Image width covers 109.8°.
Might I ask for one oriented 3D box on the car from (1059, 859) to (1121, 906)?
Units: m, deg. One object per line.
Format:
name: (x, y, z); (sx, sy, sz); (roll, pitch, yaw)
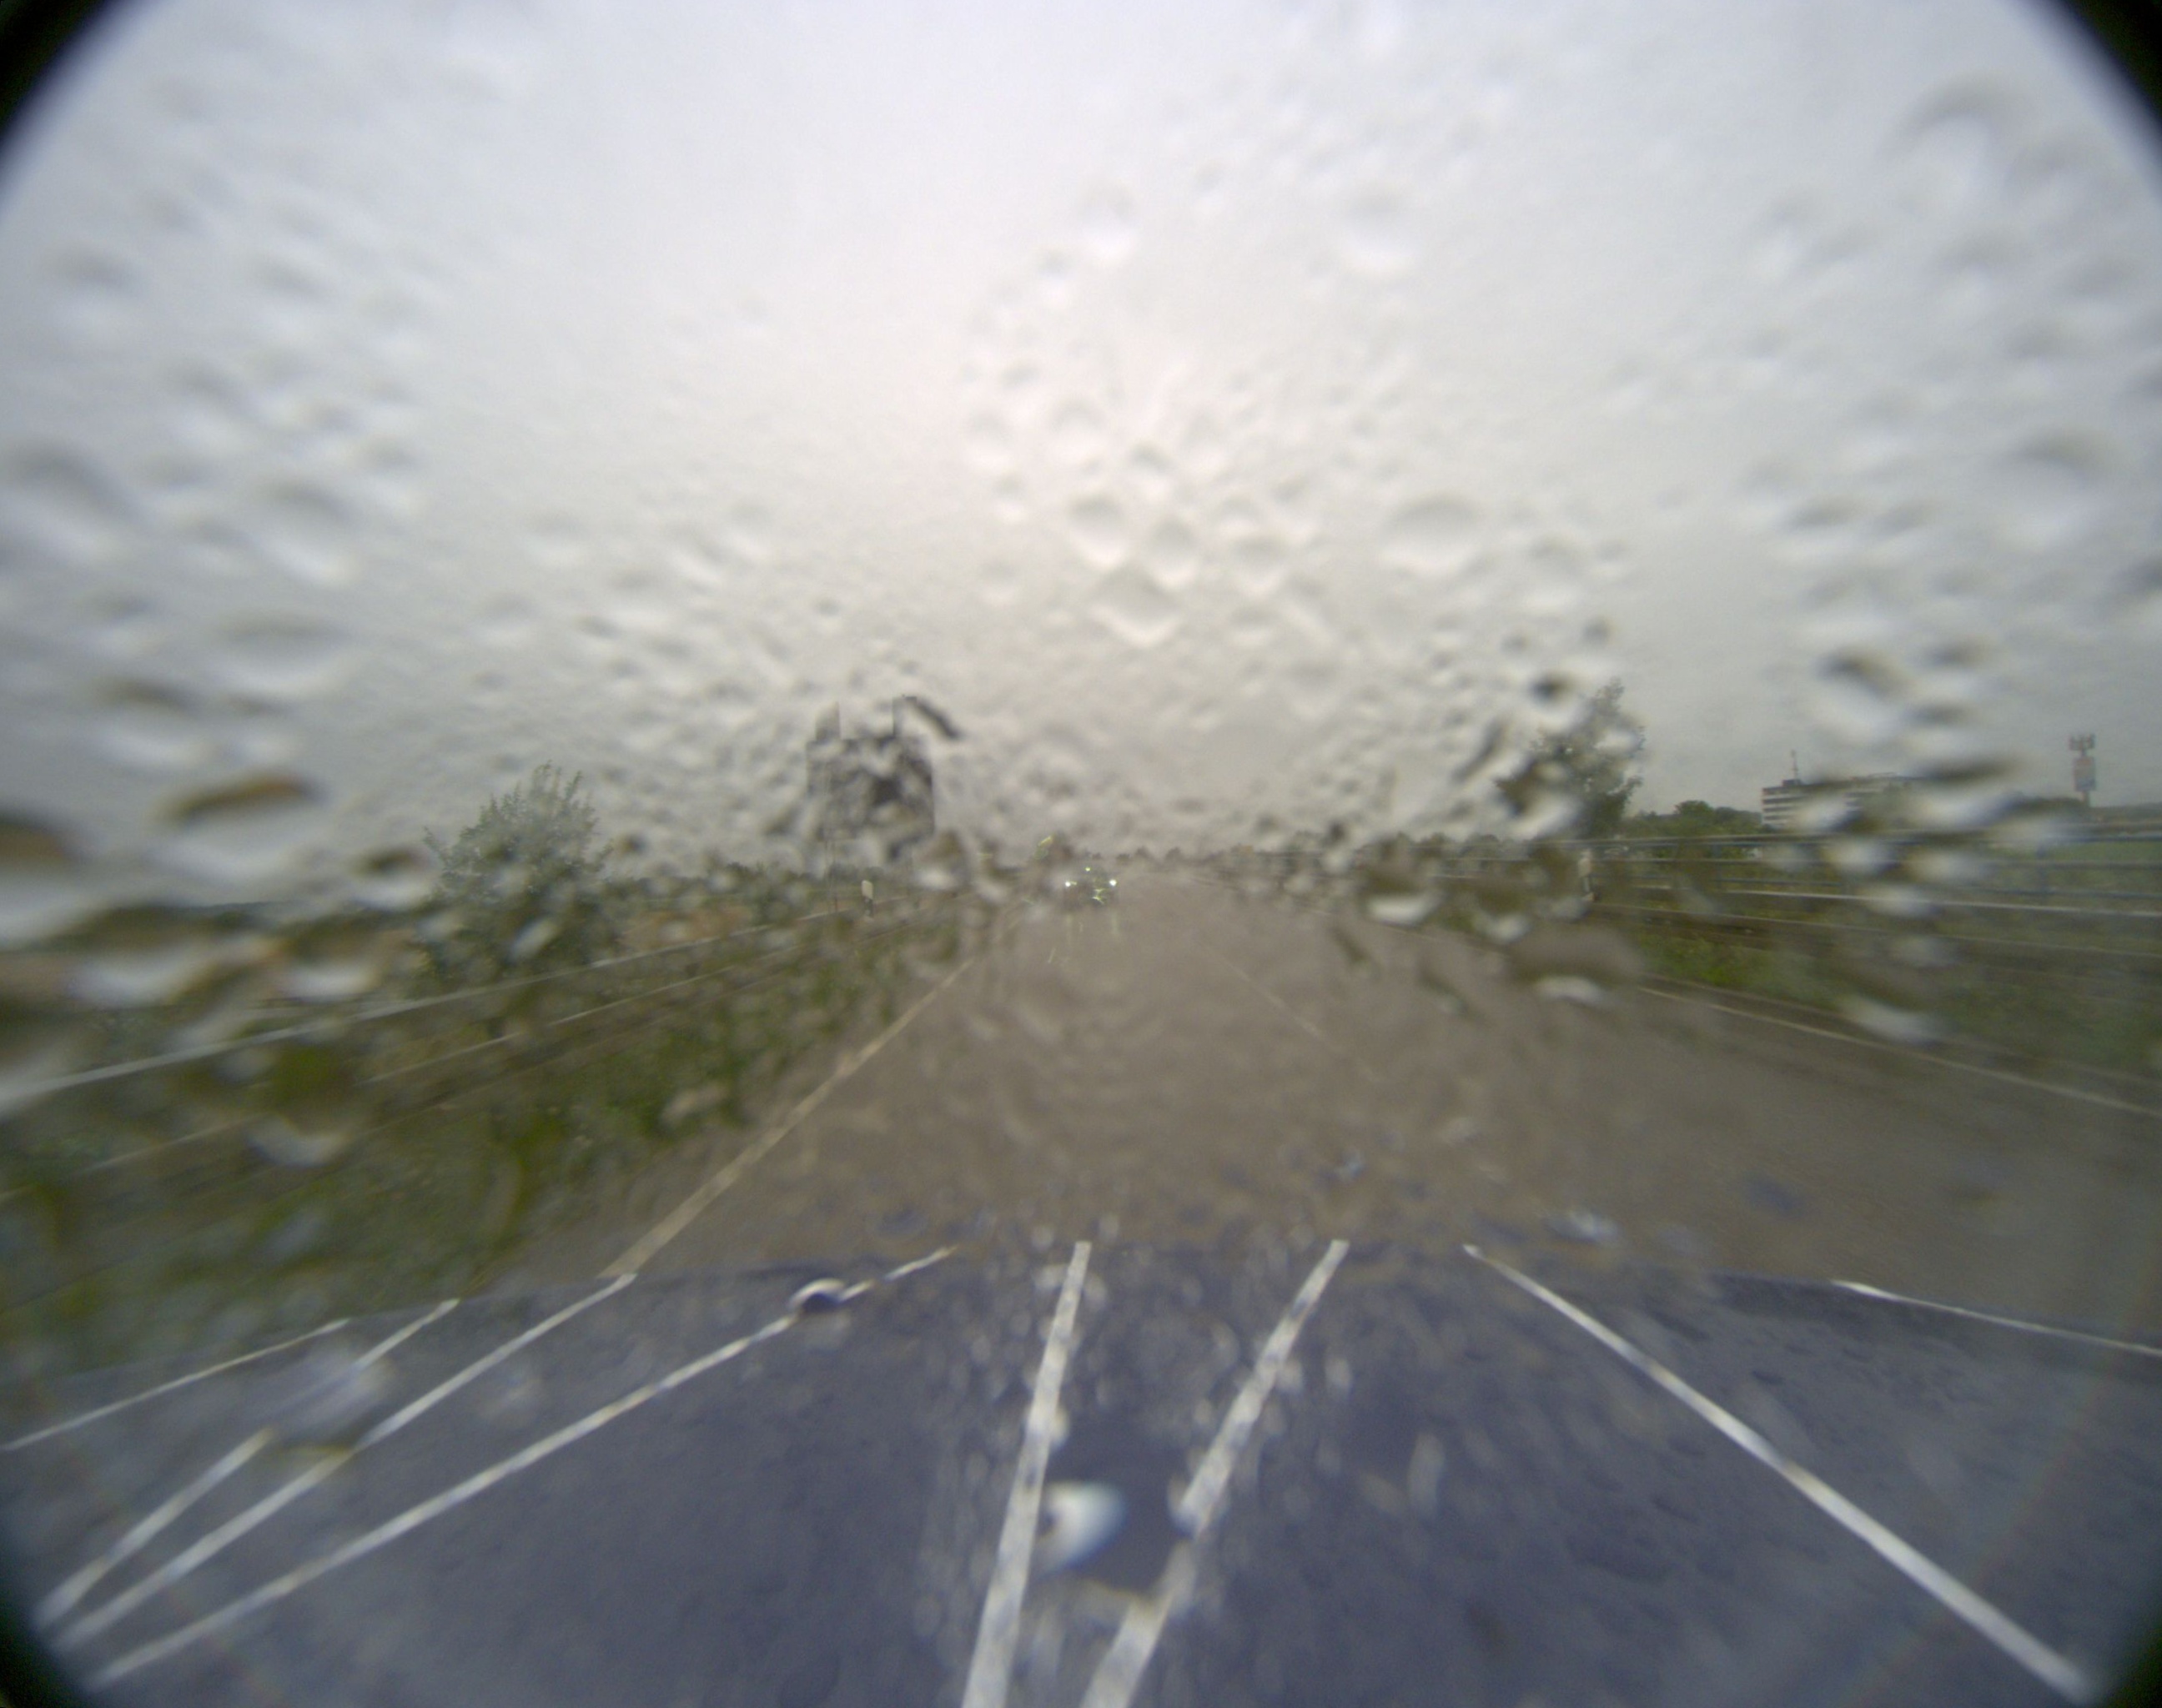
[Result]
car: (0.365, 0.926, 26.414); (1.909, 1.361, 4.565); (-2, 0, 2)

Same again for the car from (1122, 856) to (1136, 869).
car: (7.606, 1.392, 120.595); (1.909, 1.930, 4.565); (-2, 0, 2)
